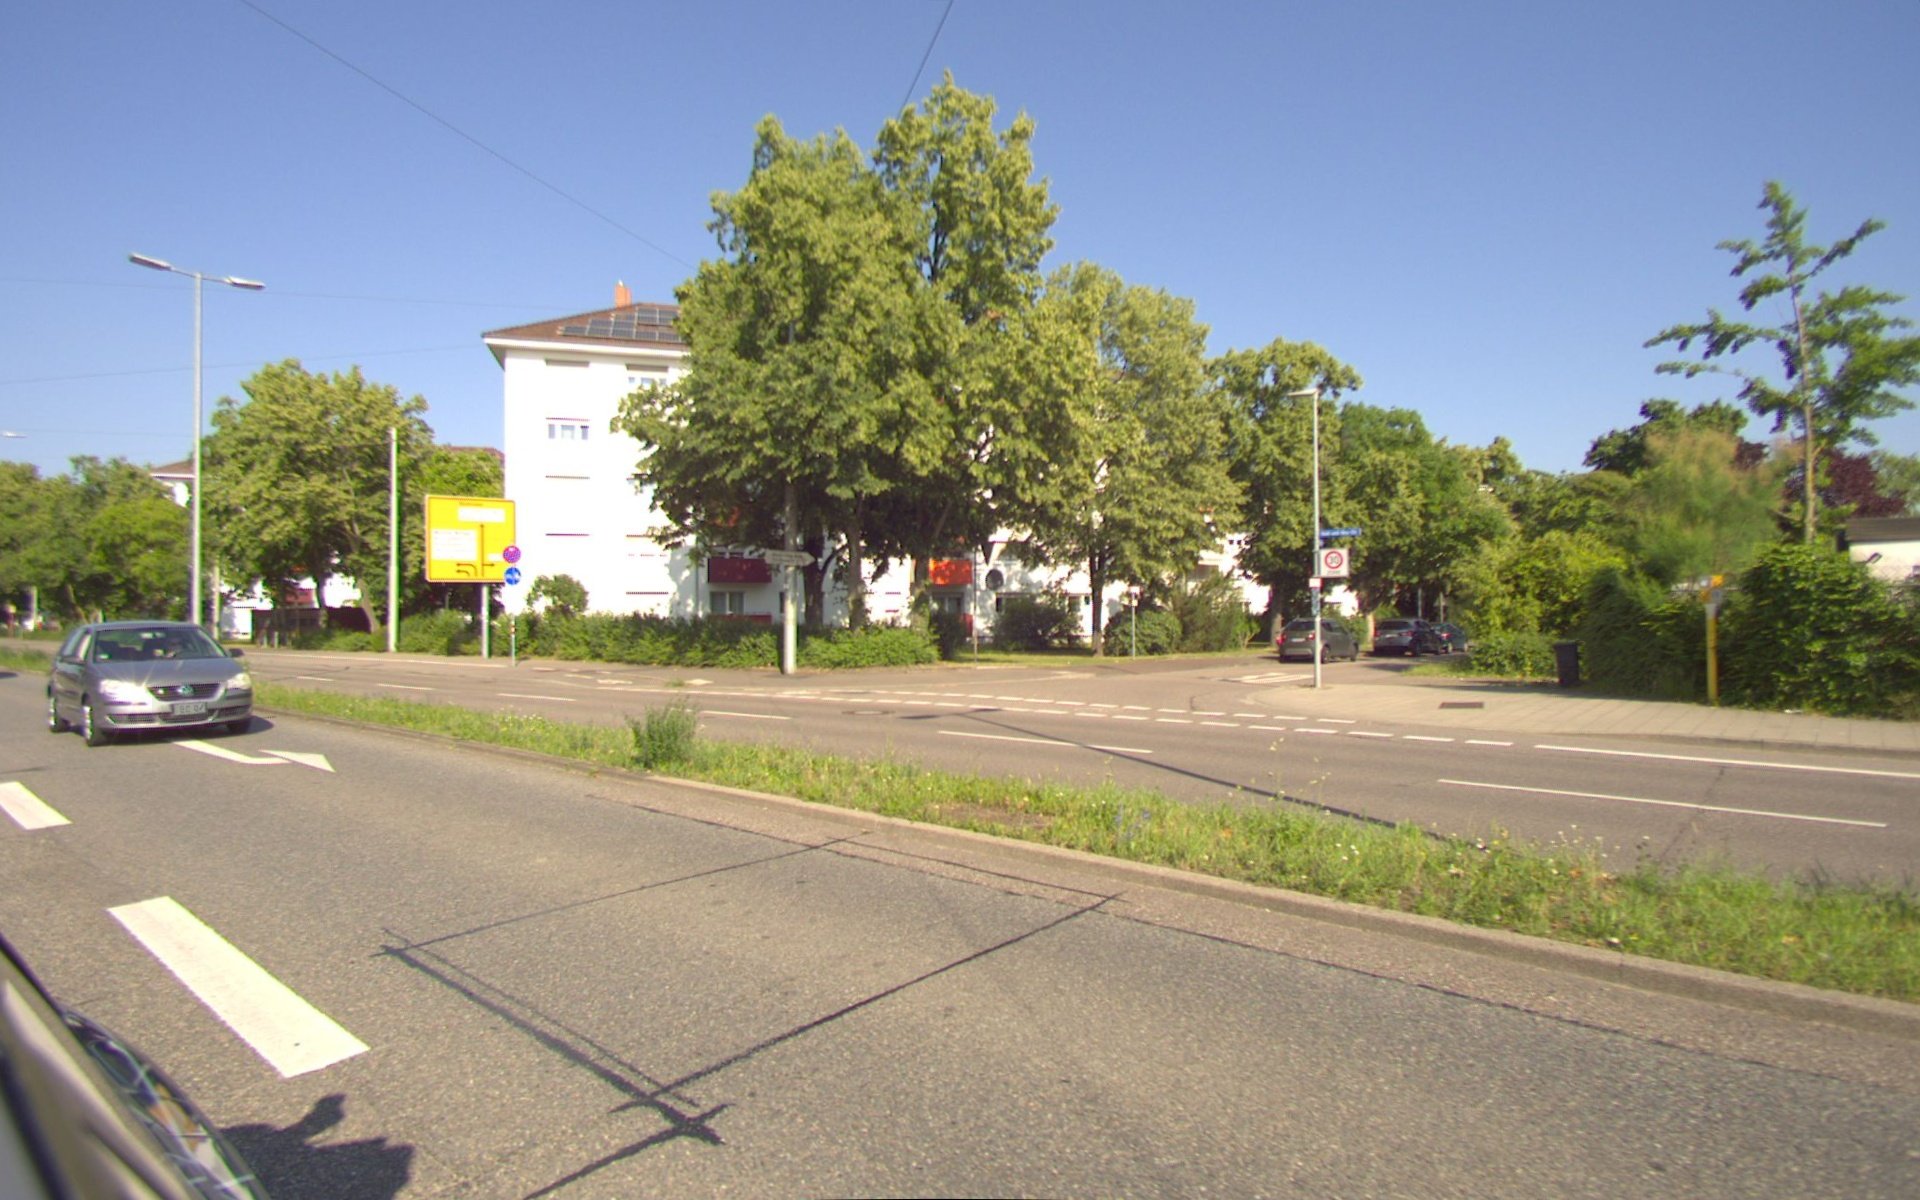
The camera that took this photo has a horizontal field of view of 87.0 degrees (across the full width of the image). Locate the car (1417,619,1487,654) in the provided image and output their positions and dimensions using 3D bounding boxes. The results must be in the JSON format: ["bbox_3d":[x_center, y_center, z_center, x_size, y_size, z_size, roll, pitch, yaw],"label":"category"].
[{"bbox_3d":[22.653,1.635,46.506,1.787,1.521,3.942,-2,-2,44],"label":"car"}]

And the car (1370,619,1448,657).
[{"bbox_3d":[19.017,1.589,42.786,1.787,1.521,3.942,-2,-2,44],"label":"car"}]

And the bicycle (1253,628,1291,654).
[{"bbox_3d":[12.744,1.669,41.336,0.784,0.996,1.720,-2,-2,43],"label":"bicycle"}]

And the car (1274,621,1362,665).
[{"bbox_3d":[12.935,1.511,36.471,1.758,1.498,3.514,-2,-2,42],"label":"car"}]

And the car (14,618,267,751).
[{"bbox_3d":[-10.657,0.990,13.082,3.826,1.439,1.673,-1,0,37],"label":"car"}]

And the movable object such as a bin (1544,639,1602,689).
[{"bbox_3d":[12.151,1.259,20.057,0.852,0.938,0.808,-1,-2,41],"label":"movable object such as a bin"}]
